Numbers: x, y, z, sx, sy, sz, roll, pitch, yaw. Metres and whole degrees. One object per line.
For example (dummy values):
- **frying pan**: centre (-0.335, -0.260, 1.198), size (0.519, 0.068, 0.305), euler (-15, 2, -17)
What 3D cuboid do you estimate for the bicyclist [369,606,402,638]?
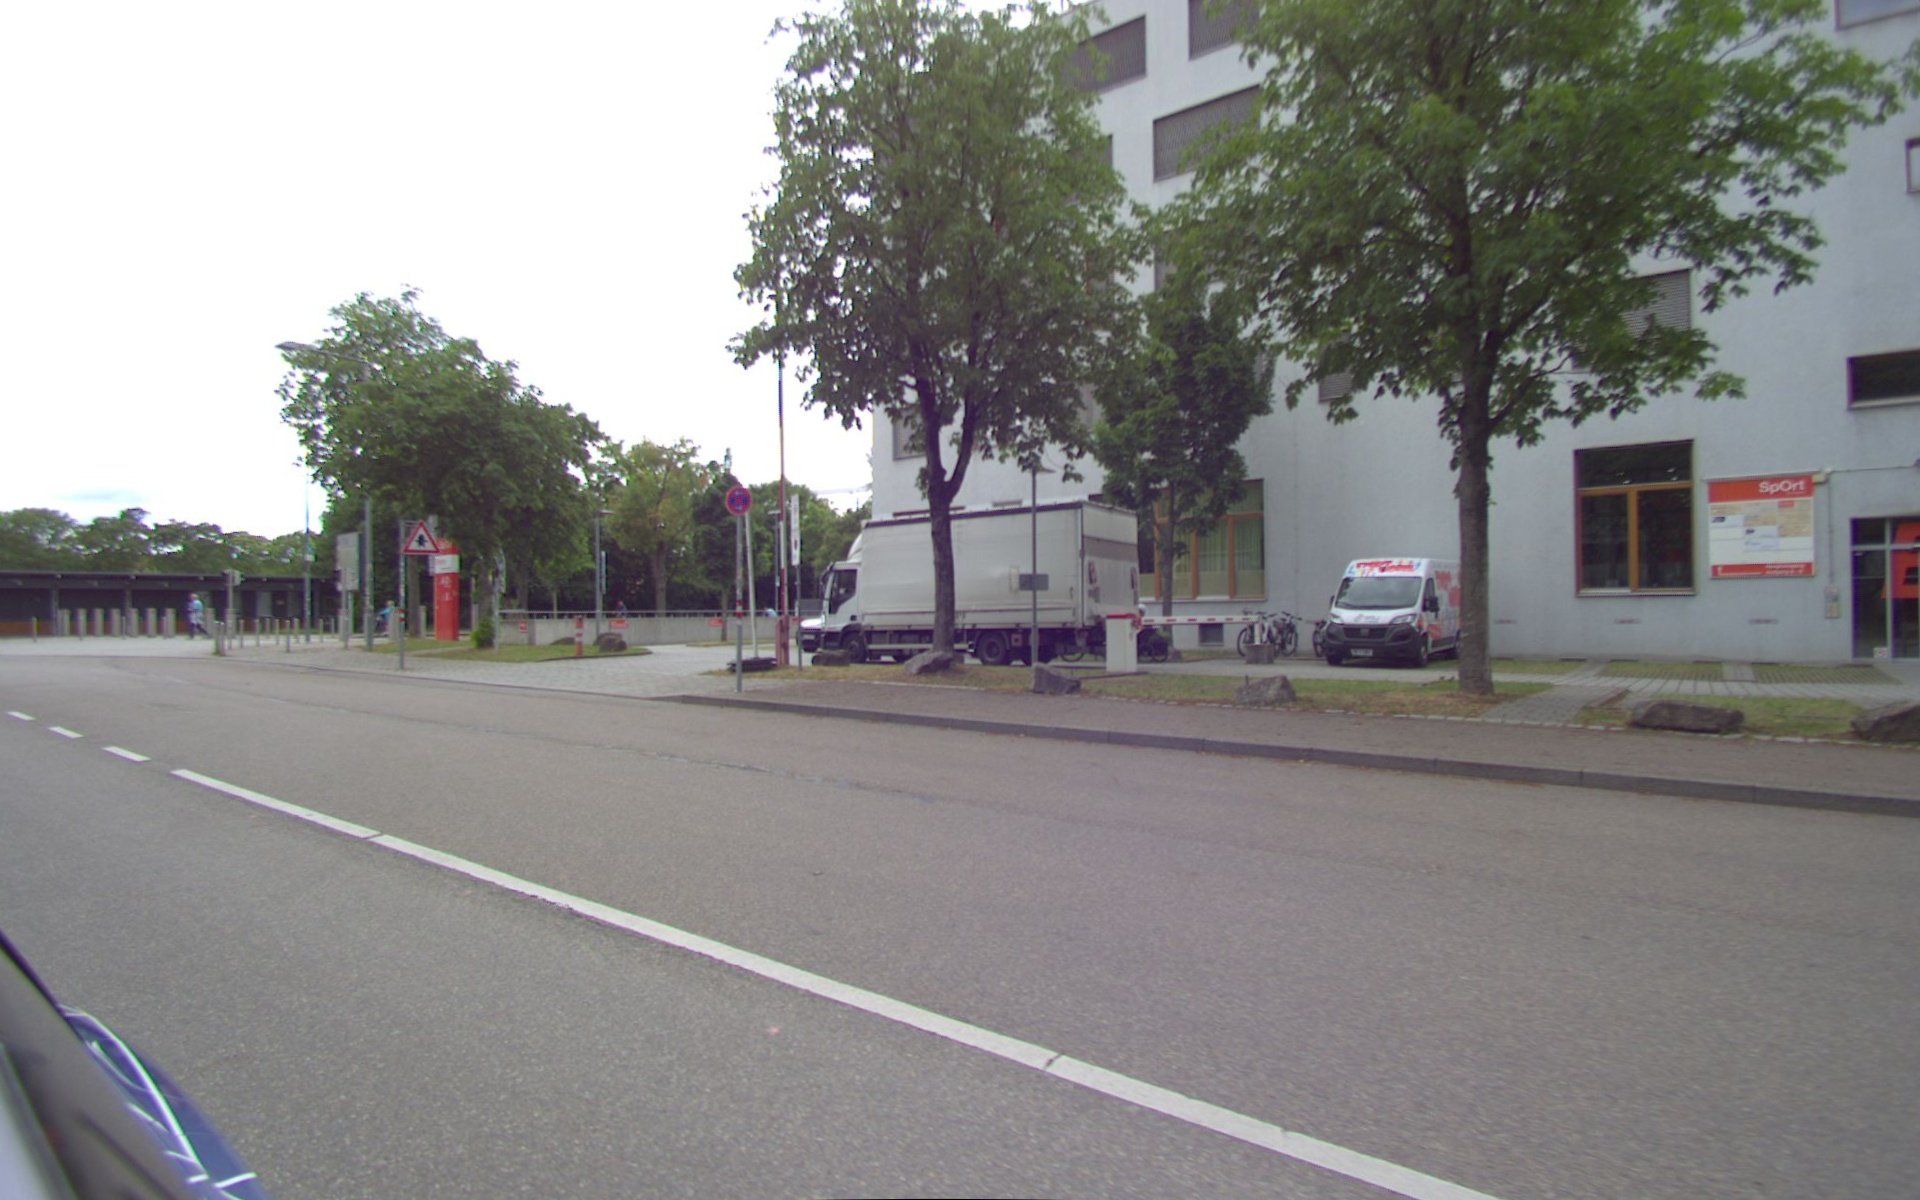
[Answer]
- **bicyclist**: centre (-26.624, 1.019, 46.897), size (0.741, 1.441, 1.146), euler (0, 0, 35)

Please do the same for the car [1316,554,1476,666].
- **car**: centre (10.313, 0.187, 23.640), size (2.076, 2.296, 5.572), euler (0, 0, 38)

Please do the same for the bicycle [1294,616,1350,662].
- **bicycle**: centre (9.117, 0.956, 25.453), size (0.613, 1.078, 2.003), euler (0, 0, 42)

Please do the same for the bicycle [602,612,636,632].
- **bicycle**: centre (-20.917, 1.318, 62.109), size (0.774, 1.152, 2.031), euler (1, 1, 29)

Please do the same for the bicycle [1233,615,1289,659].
- **bicycle**: centre (7.974, 0.952, 26.778), size (0.613, 1.078, 2.003), euler (0, 0, 42)

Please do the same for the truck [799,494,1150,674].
- **truck**: centre (0.104, -0.338, 23.953), size (8.350, 3.627, 2.653), euler (0, 0, 37)

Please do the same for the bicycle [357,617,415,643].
- **bicycle**: centre (-26.595, 1.365, 46.930), size (0.746, 1.132, 2.231), euler (0, 0, 35)

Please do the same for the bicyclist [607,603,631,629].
- **bicyclist**: centre (-20.920, 0.972, 62.103), size (0.924, 1.507, 1.091), euler (1, 1, 29)

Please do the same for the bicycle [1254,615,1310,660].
- **bicycle**: centre (8.368, 0.954, 26.231), size (0.613, 1.078, 2.003), euler (0, 0, 42)

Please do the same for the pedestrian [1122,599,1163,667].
- **pedestrian**: centre (4.432, 0.780, 24.510), size (0.881, 1.618, 0.675), euler (0, 0, 20)

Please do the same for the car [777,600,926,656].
- **car**: centre (-3.507, 0.859, 33.922), size (2.093, 1.705, 5.275), euler (0, 0, 34)

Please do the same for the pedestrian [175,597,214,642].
- **pedestrian**: centre (-31.717, 0.796, 41.957), size (1.181, 1.847, 0.930), euler (0, 1, -32)
